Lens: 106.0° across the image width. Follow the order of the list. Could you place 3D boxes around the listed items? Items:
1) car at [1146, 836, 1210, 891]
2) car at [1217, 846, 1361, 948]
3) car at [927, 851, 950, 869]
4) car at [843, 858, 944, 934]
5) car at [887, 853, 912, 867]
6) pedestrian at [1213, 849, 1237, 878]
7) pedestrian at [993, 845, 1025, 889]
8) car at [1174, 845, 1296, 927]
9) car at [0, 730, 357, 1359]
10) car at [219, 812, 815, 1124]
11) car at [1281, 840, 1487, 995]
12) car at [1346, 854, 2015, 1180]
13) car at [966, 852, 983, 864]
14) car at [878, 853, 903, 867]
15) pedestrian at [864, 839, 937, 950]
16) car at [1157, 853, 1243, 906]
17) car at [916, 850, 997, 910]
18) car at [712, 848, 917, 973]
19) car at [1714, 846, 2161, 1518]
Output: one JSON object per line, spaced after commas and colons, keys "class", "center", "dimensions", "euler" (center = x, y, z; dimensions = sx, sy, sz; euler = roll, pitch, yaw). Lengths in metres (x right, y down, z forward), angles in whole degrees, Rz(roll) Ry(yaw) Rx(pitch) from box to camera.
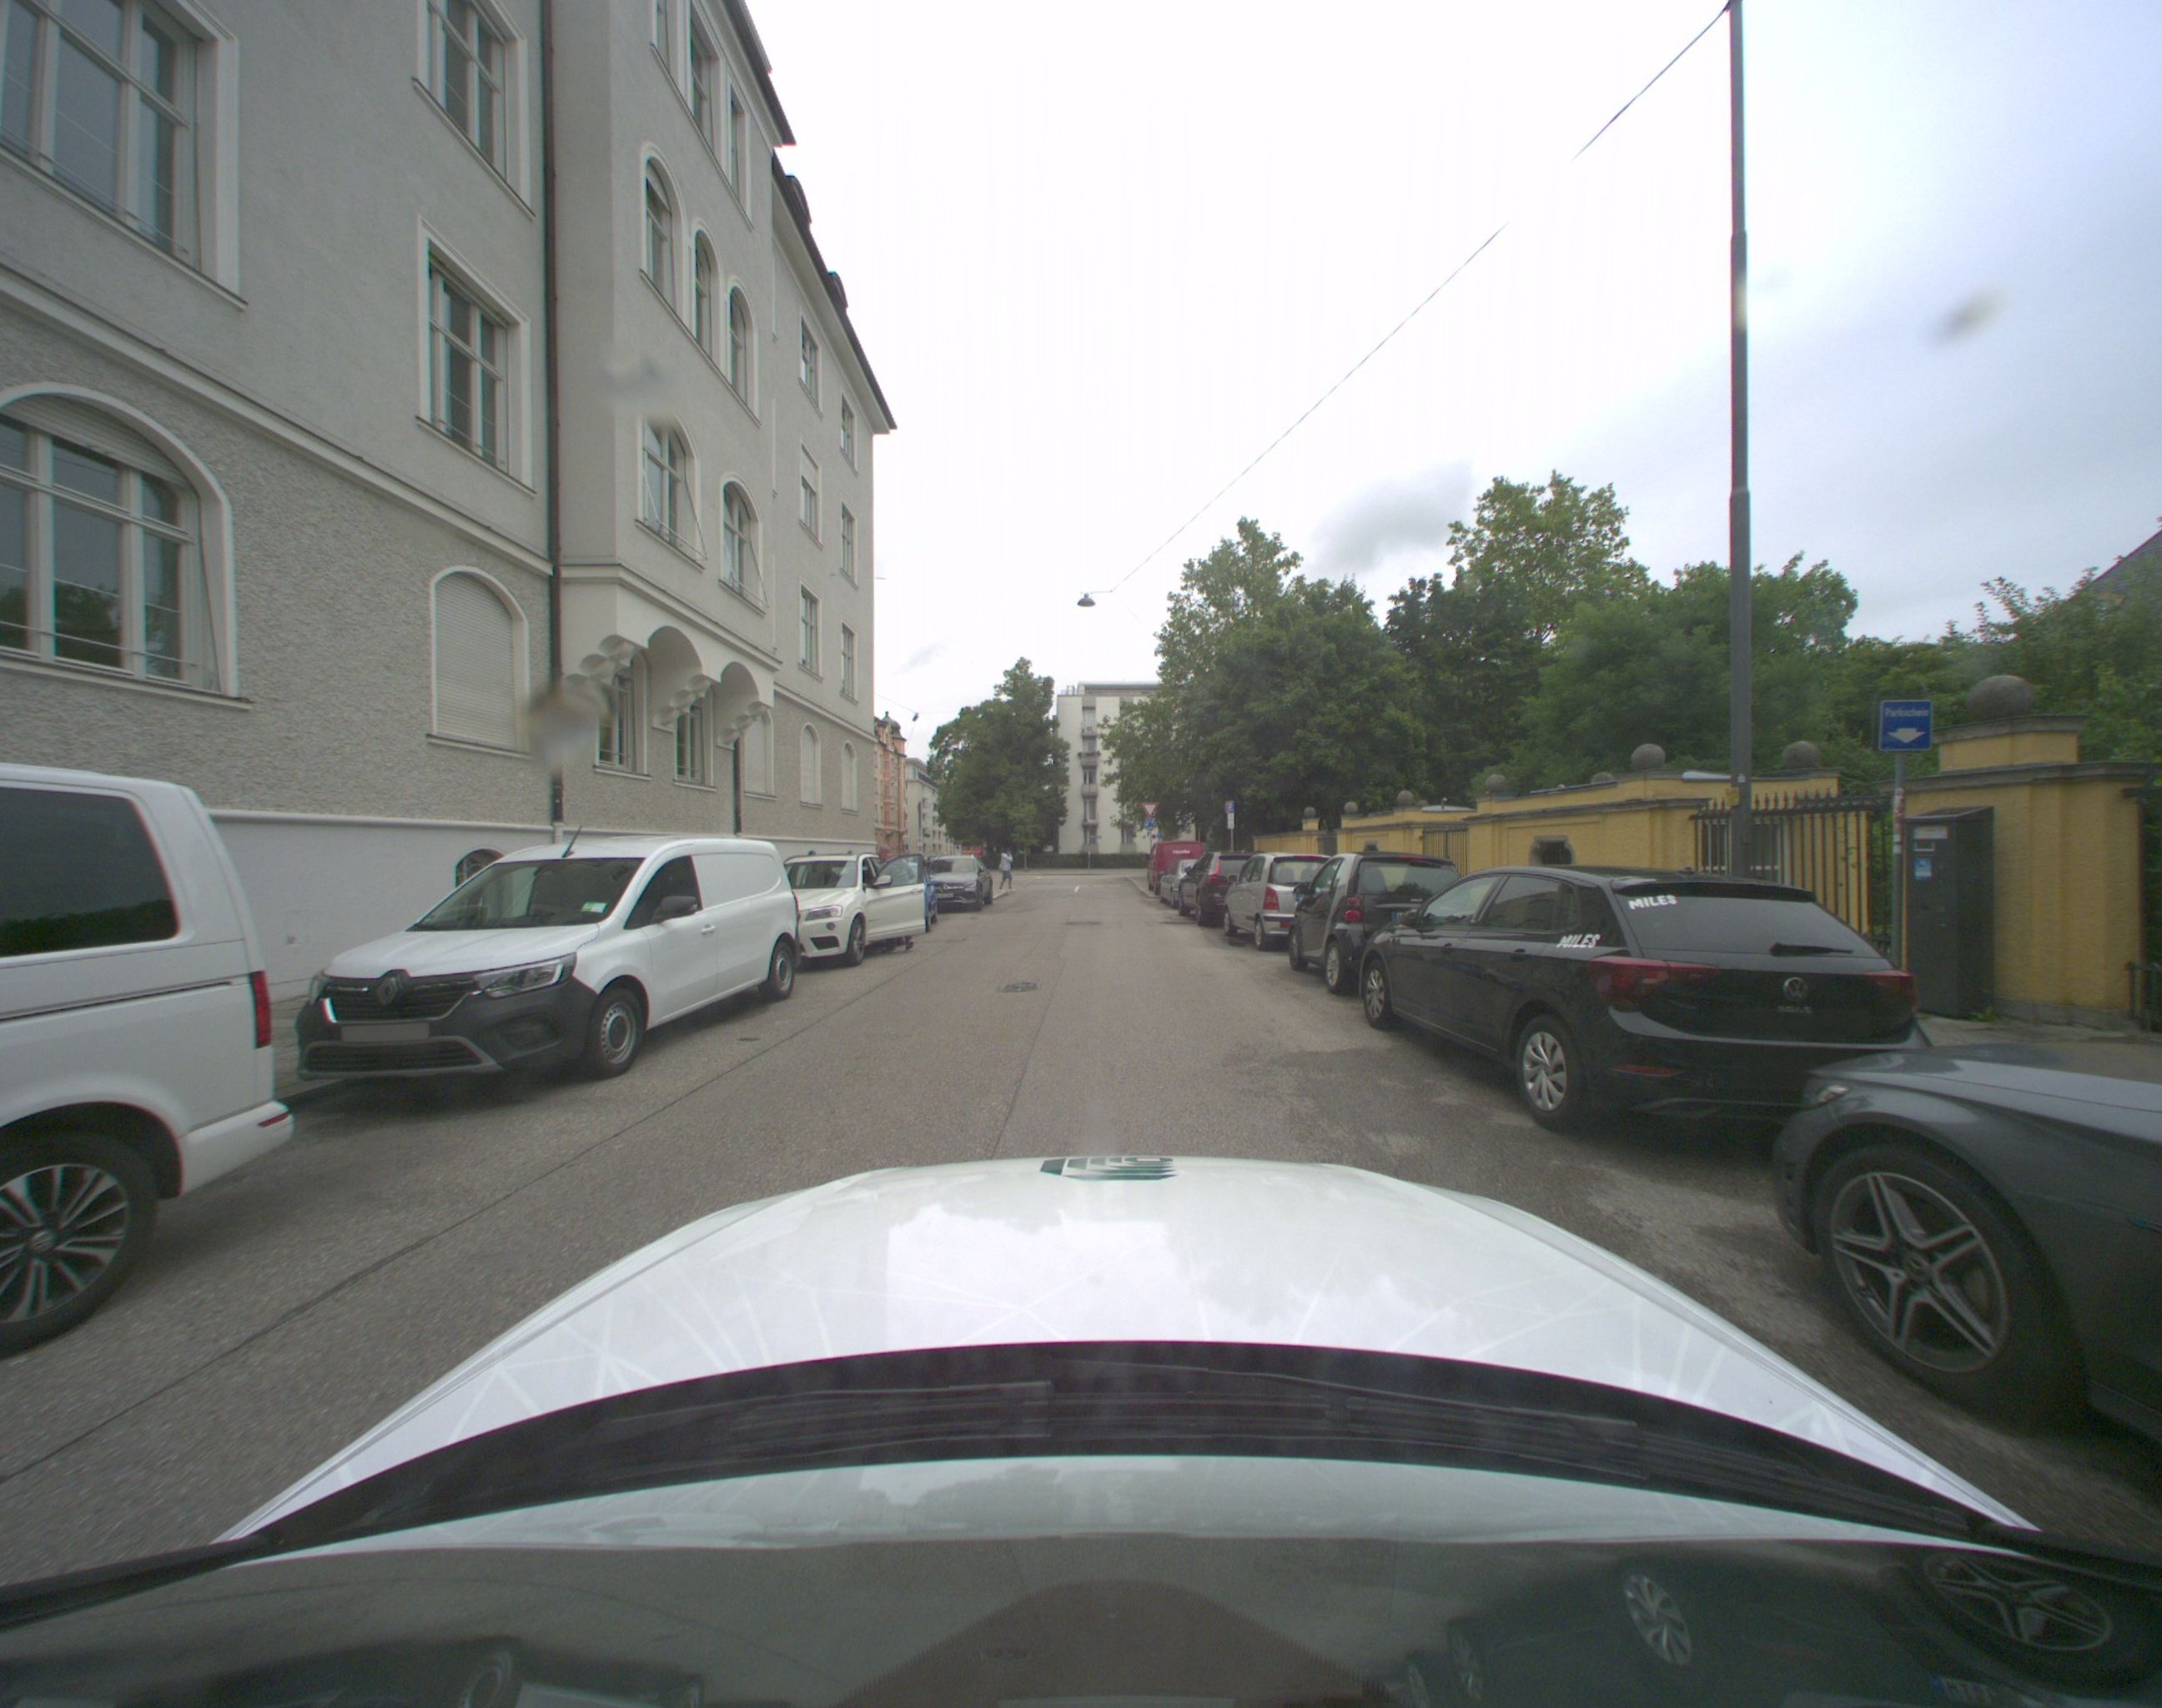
{"class": "car", "center": [3.582, 0.317, 31.011], "dimensions": [1.868, 1.920, 4.887], "euler": [1, 0, 0]}
{"class": "car", "center": [3.494, 0.654, 14.296], "dimensions": [1.480, 1.539, 3.690], "euler": [1, 0, -2]}
{"class": "car", "center": [-12.709, 0.525, 72.948], "dimensions": [1.817, 1.505, 4.411], "euler": [-2, 0, -8]}
{"class": "car", "center": [-4.019, 0.838, 17.975], "dimensions": [1.690, 1.414, 3.654], "euler": [-2, 0, -6]}
{"class": "car", "center": [-21.875, 0.725, 98.271], "dimensions": [1.970, 1.581, 4.406], "euler": [0, 0, -1]}
{"class": "pedestrian", "center": [6.733, 0.421, 38.038], "dimensions": [1.005, 1.338, 0.878], "euler": [-1, 0, 4]}
{"class": "pedestrian", "center": [-2.964, 0.513, 33.381], "dimensions": [1.054, 1.771, 0.869], "euler": [-1, 0, -28]}
{"class": "car", "center": [3.449, 0.647, 19.179], "dimensions": [1.879, 1.653, 4.822], "euler": [1, 0, -1]}
{"class": "car", "center": [-4.288, 0.615, 1.228], "dimensions": [1.849, 1.938, 4.958], "euler": [-2, 0, 1]}
{"class": "car", "center": [-4.164, 0.667, 7.340], "dimensions": [1.740, 1.788, 5.037], "euler": [-2, 0, 1]}
{"class": "car", "center": [3.487, 0.652, 9.864], "dimensions": [1.502, 1.566, 2.871], "euler": [1, 0, 2]}
{"class": "car", "center": [3.340, 0.732, 5.658], "dimensions": [1.686, 1.414, 4.036], "euler": [1, 0, 0]}
{"class": "car", "center": [-15.528, 0.513, 118.907], "dimensions": [1.829, 1.634, 3.819], "euler": [-2, 0, 0]}
{"class": "car", "center": [-21.770, 0.704, 93.273], "dimensions": [1.970, 1.581, 4.406], "euler": [0, 0, -1]}
{"class": "pedestrian", "center": [-3.009, 0.639, 13.535], "dimensions": [0.967, 1.755, 0.868], "euler": [0, 0, -29]}
{"class": "car", "center": [3.586, 0.724, 25.277], "dimensions": [1.879, 1.448, 4.366], "euler": [1, 0, -2]}
{"class": "car", "center": [-3.698, 0.714, 24.989], "dimensions": [1.741, 1.602, 4.496], "euler": [-2, 0, 0]}
{"class": "car", "center": [-3.993, 0.744, 13.063], "dimensions": [1.741, 1.602, 4.496], "euler": [-2, 0, 0]}
{"class": "car", "center": [3.097, 0.698, 0.720], "dimensions": [1.685, 1.414, 4.518], "euler": [-1, 0, 2]}
